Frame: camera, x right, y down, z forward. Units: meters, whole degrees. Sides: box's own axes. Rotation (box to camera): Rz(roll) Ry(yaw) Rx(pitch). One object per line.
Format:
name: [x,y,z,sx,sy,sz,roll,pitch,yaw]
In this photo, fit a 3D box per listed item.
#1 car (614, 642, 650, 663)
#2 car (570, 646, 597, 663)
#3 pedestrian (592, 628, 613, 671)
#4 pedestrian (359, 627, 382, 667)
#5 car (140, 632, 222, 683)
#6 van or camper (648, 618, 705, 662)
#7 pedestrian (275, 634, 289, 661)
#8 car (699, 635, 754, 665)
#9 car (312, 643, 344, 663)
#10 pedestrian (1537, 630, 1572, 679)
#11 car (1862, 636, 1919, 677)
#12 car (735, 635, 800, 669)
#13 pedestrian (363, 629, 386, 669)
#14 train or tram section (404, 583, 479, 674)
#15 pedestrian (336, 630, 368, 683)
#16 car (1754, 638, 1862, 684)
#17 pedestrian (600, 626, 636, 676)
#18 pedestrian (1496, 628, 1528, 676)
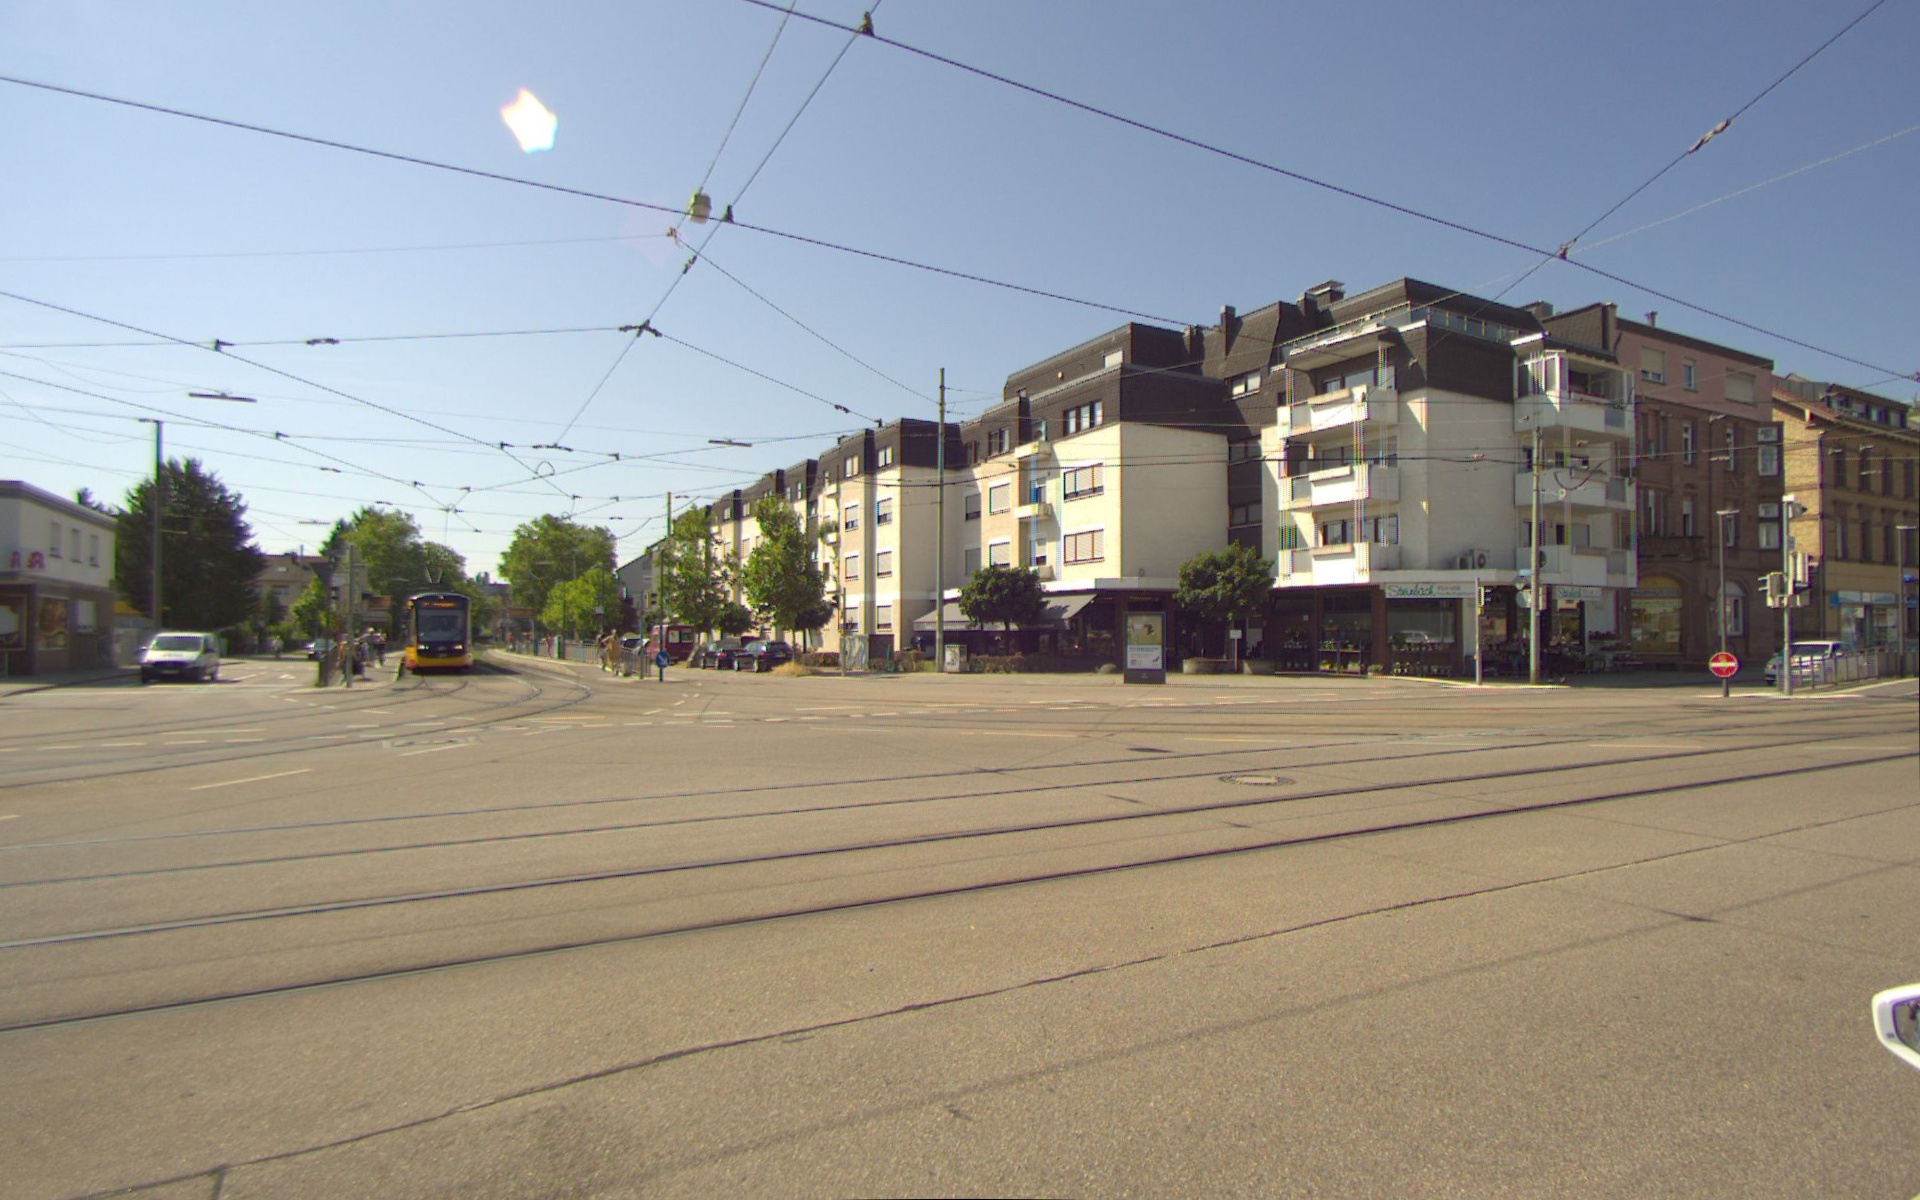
car: [-24.538,3.933,75.057,1.806,1.520,3.970,1,-3,-29]
car: [-36.320,5.229,96.828,1.806,1.520,3.970,1,-3,-29]
pedestrian: [-14.959,2.062,42.042,0.753,1.783,0.806,1,-2,-26]
pedestrian: [-24.233,1.928,41.287,0.775,1.648,0.655,1,-2,-29]
car: [-30.378,2.216,39.317,1.755,1.886,4.626,1,-3,-28]
van or camper: [-17.747,2.504,62.643,2.348,2.659,4.853,1,-2,-30]
pedestrian: [-49.229,3.456,72.959,0.759,1.991,0.855,1,-2,-31]
car: [-12.285,2.603,52.700,1.806,1.520,3.970,1,-3,-29]
car: [-47.536,3.955,75.576,1.736,1.460,3.971,1,-3,-28]
pedestrian: [20.562,1.880,34.754,0.676,1.669,0.870,2,-3,-44]
car: [35.425,2.071,37.563,3.773,1.478,1.564,1,-3,-33]
car: [-9.104,2.434,47.313,1.806,1.520,4.155,1,-2,-29]
pedestrian: [-25.421,2.132,43.589,0.803,1.702,1.086,1,-2,-28]
train or tram section: [-24.880,1.431,47.874,2.735,3.706,13.806,1,-2,-29]
pedestrian: [-21.837,2.006,36.092,0.885,1.861,1.193,1,-2,-28]
car: [28.500,2.014,33.751,3.917,1.450,1.617,1,-1,-31]
pedestrian: [-13.160,1.956,38.596,1.109,1.860,1.429,1,-2,-28]
pedestrian: [19.532,1.837,35.548,0.723,1.669,0.675,1,-2,-30]
